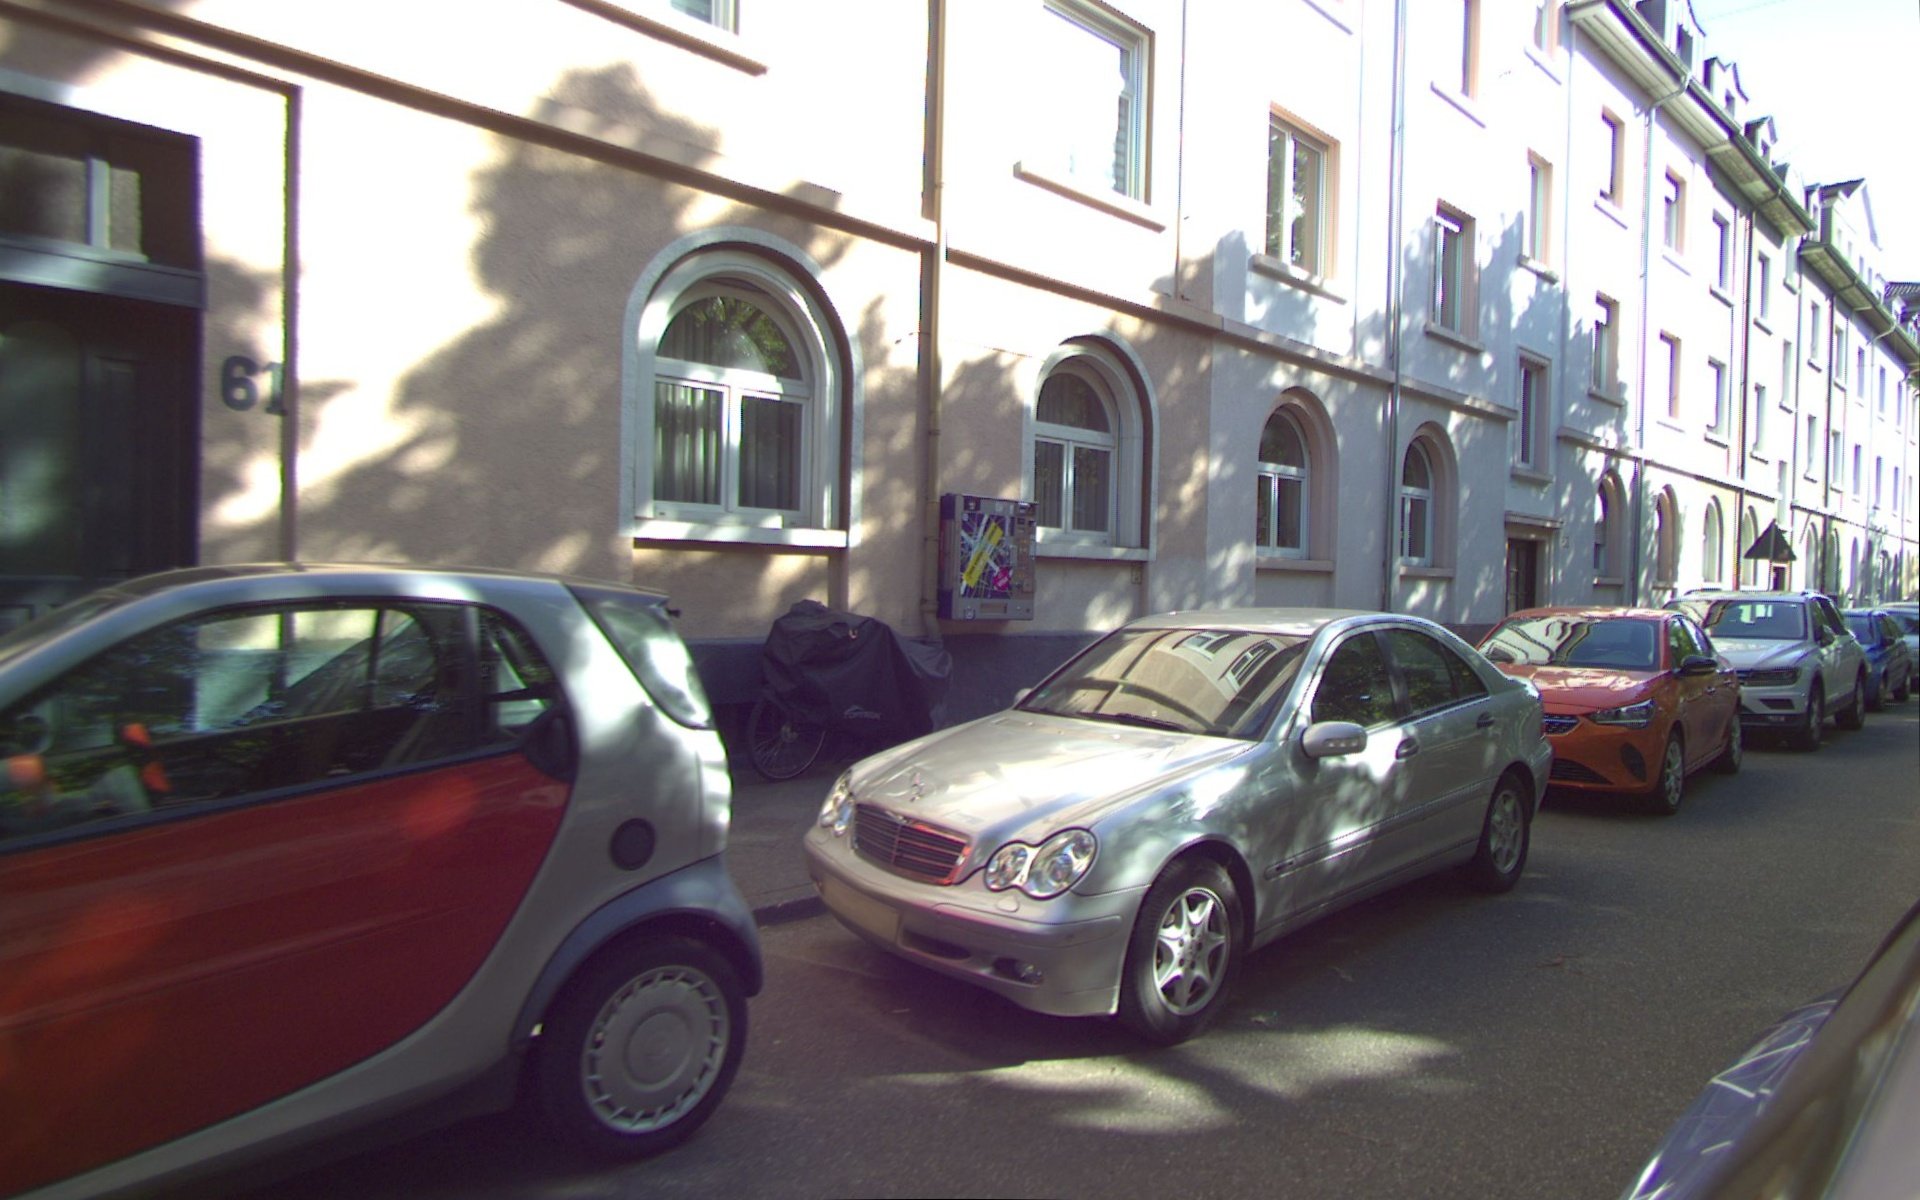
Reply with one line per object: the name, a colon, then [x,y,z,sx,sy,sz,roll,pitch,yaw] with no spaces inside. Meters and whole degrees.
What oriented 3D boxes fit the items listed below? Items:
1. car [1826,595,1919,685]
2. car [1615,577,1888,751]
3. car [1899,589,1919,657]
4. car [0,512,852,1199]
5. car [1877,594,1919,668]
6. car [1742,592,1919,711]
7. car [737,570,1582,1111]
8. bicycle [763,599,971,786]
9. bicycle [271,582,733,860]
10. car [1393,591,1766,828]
car: [17.034,0.672,18.297,3.544,1.455,1.576,0,2,-41]
car: [9.167,0.589,11.595,4.199,1.619,1.670,0,2,-41]
car: [24.627,0.572,24.858,3.930,1.613,1.862,0,2,-41]
car: [-1.913,0.610,2.580,2.917,1.577,1.489,0,2,-41]
car: [20.729,0.633,21.387,3.343,1.473,1.576,0,2,-41]
car: [13.266,0.681,15.237,3.544,1.531,1.670,0,2,-41]
car: [1.240,0.650,4.844,4.170,1.482,1.764,0,2,-41]
bicycle: [-0.638,0.607,7.281,1.503,1.217,0.427,0,1,-41]
bicycle: [-2.456,0.563,5.690,2.301,1.298,0.542,0,1,-40]
car: [5.229,0.682,8.322,3.907,1.445,1.668,0,2,-44]
